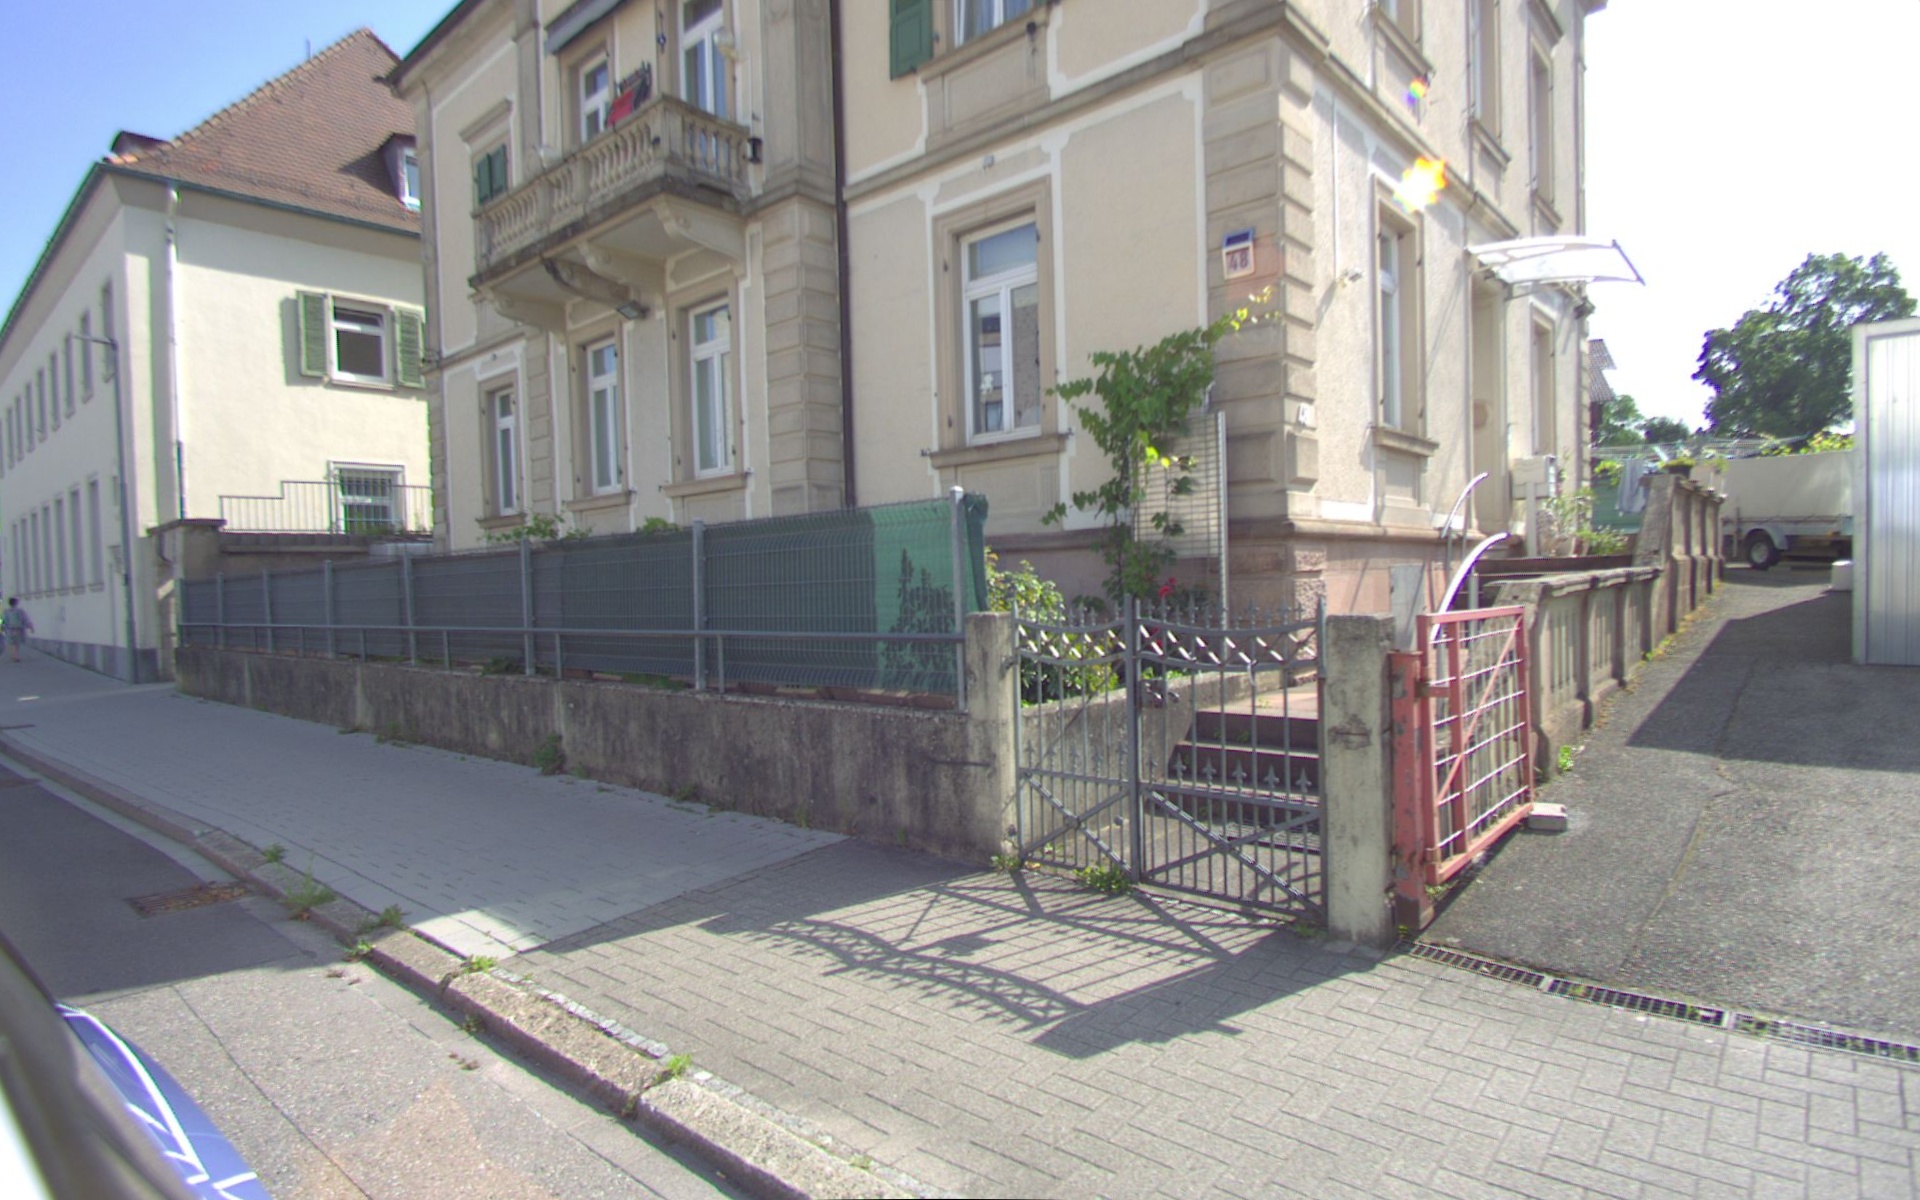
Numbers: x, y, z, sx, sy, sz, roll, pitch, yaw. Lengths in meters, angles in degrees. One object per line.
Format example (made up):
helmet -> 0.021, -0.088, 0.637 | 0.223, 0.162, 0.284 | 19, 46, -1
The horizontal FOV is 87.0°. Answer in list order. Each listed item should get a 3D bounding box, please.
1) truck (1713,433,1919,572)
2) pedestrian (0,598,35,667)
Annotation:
truck -> 12.271, -1.344, 13.591 | 1.766, 1.659, 3.139 | -5, 5, -5
pedestrian -> -23.547, 0.800, 24.945 | 0.758, 1.643, 0.948 | -1, 2, 41
